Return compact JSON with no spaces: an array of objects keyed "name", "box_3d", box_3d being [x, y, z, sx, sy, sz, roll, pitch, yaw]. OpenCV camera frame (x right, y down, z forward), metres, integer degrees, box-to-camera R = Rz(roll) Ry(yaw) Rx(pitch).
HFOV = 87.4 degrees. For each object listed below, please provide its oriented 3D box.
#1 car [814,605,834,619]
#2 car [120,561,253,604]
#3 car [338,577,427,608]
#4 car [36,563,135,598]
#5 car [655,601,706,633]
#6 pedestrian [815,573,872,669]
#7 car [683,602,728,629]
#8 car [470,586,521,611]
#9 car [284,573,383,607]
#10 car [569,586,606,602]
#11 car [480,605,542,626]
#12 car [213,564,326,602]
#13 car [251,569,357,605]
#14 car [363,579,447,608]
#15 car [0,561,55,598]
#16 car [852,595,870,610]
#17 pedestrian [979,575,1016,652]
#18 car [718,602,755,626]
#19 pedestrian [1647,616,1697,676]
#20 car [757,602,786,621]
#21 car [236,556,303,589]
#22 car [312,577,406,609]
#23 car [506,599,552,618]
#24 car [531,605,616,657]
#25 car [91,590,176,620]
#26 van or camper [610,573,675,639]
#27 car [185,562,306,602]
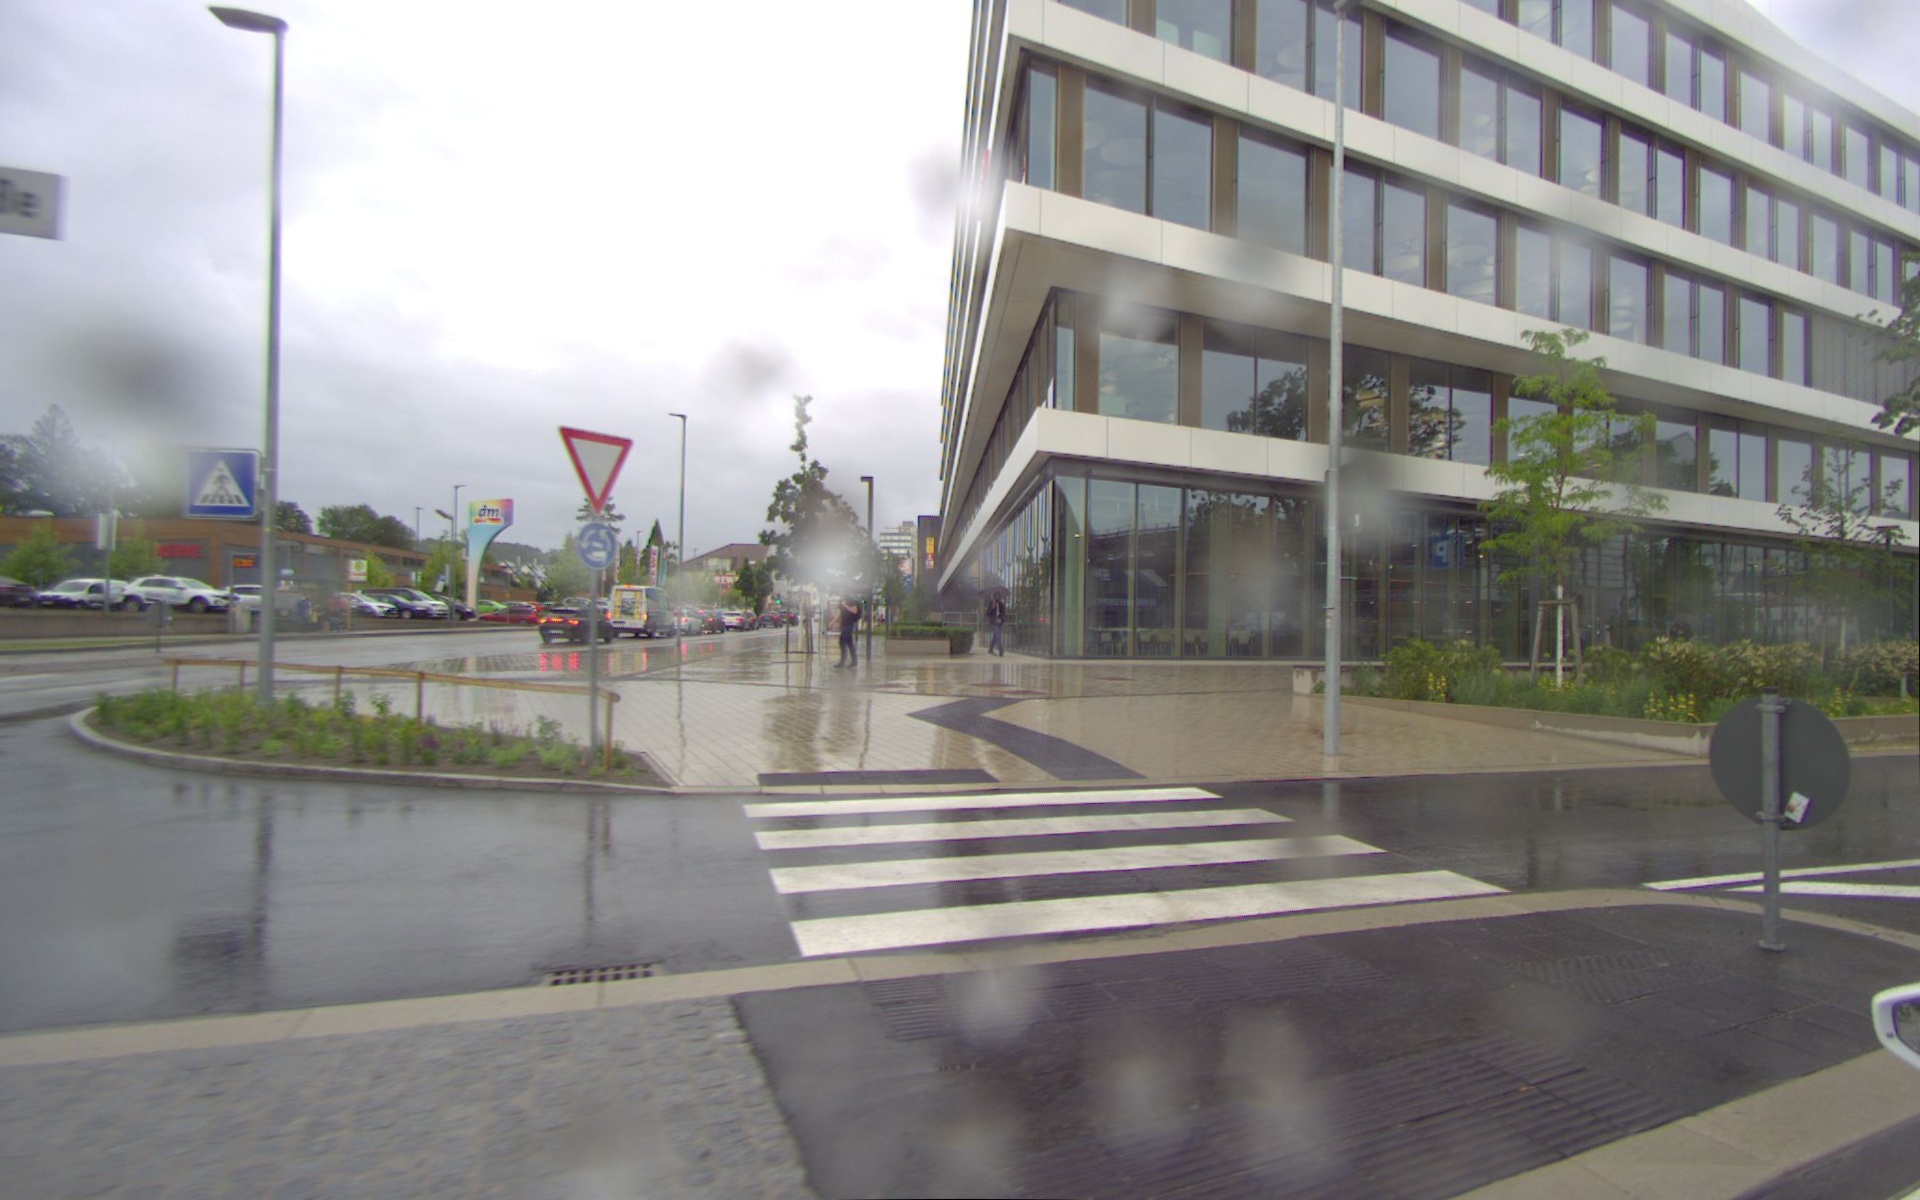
[{"name":"car","box_3d":[-18.505,1.557,136.430,1.961,1.606,4.000,4,1,2]},{"name":"car","box_3d":[-31.807,-0.701,41.406,3.924,1.572,1.851,2,-1,-5]},{"name":"car","box_3d":[-32.822,-0.411,57.158,3.924,1.572,1.793,2,-1,-5]},{"name":"car","box_3d":[-44.482,-0.963,51.205,1.761,1.572,3.997,2,-1,-6]},{"name":"car","box_3d":[-16.410,0.987,59.084,1.961,1.728,3.999,2,0,-2]},{"name":"pedestrian","box_3d":[-2.546,0.452,21.992,0.920,2.040,0.886,2,0,-30]},{"name":"car","box_3d":[-16.498,0.964,65.362,1.961,1.639,3.999,2,0,-2]},{"name":"car","box_3d":[-44.314,-0.114,95.894,3.924,2.040,1.999,4,2,-4]},{"name":"car","box_3d":[-32.319,-0.493,51.902,3.924,1.572,1.793,2,-1,-5]},{"name":"car","box_3d":[-47.021,-0.704,126.837,3.924,1.673,1.999,4,2,-3]},{"name":"car","box_3d":[-33.363,1.165,74.800,3.937,1.416,1.992,2,-1,-18]},{"name":"car","box_3d":[-31.988,-0.776,46.623,3.924,1.572,1.793,2,-1,-5]},{"name":"car","box_3d":[-32.266,-0.621,49.474,3.924,1.572,1.793,2,-1,-5]},{"name":"car","box_3d":[-32.958,-0.350,59.698,3.924,1.572,1.793,2,-1,-5]},{"name":"car","box_3d":[-42.878,-0.933,44.404,3.923,1.572,1.794,2,-1,-3]},{"name":"car","box_3d":[-13.645,0.330,138.722,1.961,1.884,3.999,4,1,0]},{"name":"pedestrian","box_3d":[1.065,0.386,28.952,0.986,2.174,0.932,2,0,1]},{"name":"car","box_3d":[-16.570,1.010,74.655,1.961,1.639,3.999,2,0,-2]},{"name":"pedestrian","box_3d":[21.745,1.399,30.688,0.943,1.726,0.722,4,2,-22]},{"name":"car","box_3d":[-17.247,1.067,92.117,1.961,1.639,3.999,2,0,-2]},{"name":"car","box_3d":[-46.511,-1.874,67.776,1.963,2.040,3.995,4,2,-7]},{"name":"car","box_3d":[-32.645,-0.347,54.624,3.924,1.572,1.793,2,-1,-5]},{"name":"car","box_3d":[-45.950,0.887,107.069,3.924,1.673,1.999,4,2,-3]},{"name":"car","box_3d":[-15.549,1.205,40.639,1.961,1.751,3.998,2,2,-3]},{"name":"car","box_3d":[-41.388,0.264,50.410,1.562,1.370,3.518,2,-1,-6]},{"name":"van or camper","box_3d":[-16.093,0.273,51.160,1.962,3.129,5.098,2,1,-4]},{"name":"car","box_3d":[-31.695,-0.775,44.647,3.924,1.572,1.793,2,-1,-5]}]
